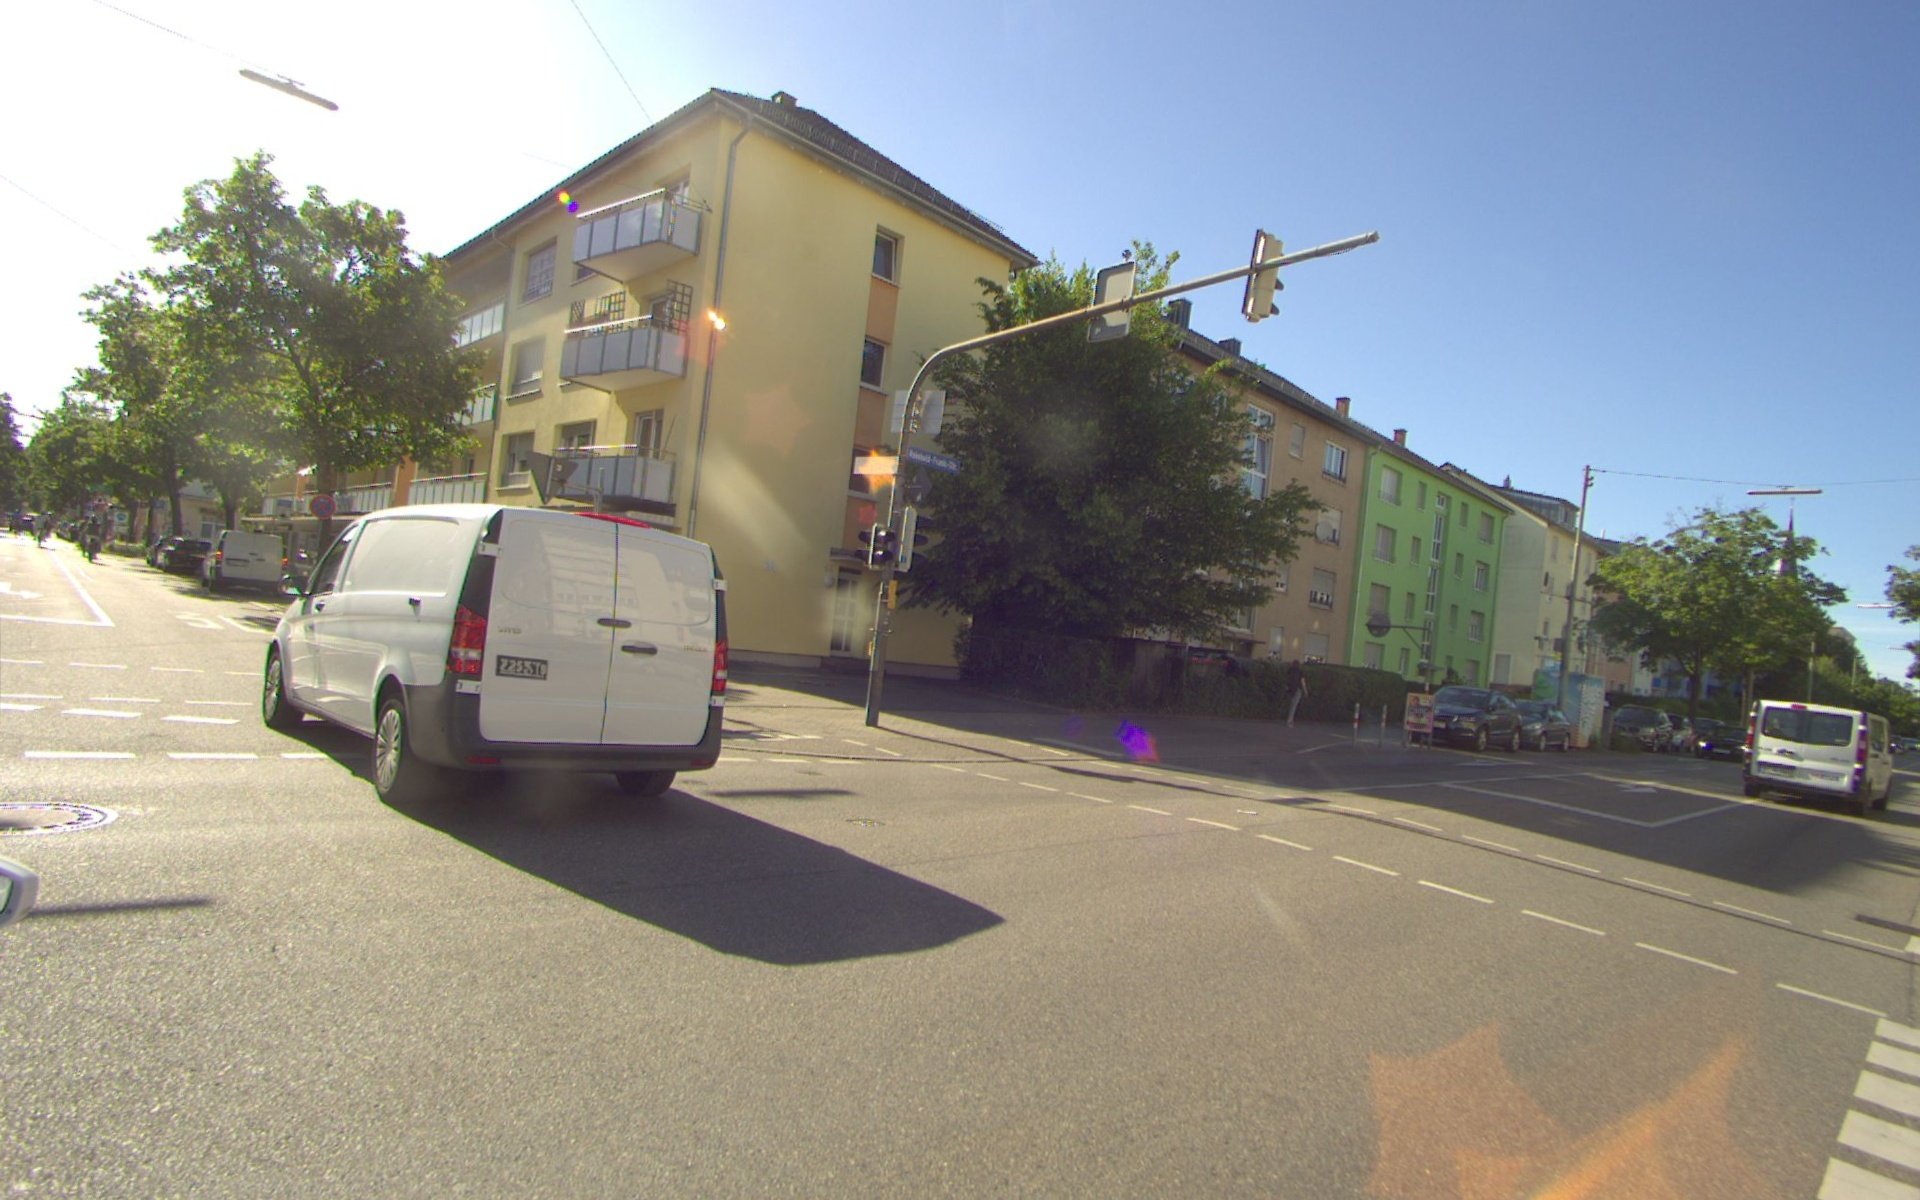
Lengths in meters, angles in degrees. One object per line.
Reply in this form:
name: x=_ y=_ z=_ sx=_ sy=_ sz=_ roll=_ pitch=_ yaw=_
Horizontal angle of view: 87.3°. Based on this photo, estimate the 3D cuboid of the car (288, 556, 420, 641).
car: x=-13.393 y=-0.061 z=22.154 sx=1.708 sy=1.501 sz=3.340 roll=7 pitch=-1 yaw=-43

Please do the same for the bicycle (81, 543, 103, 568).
bicycle: x=-34.545 y=-1.784 z=40.031 sx=0.545 sy=0.876 sz=1.854 roll=7 pitch=-1 yaw=-42

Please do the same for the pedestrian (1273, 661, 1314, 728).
pedestrian: x=8.495 y=2.413 z=25.610 sx=0.567 sy=1.605 sz=0.640 roll=6 pitch=0 yaw=-37

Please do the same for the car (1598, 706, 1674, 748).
car: x=26.808 y=5.026 z=39.849 sx=3.500 sy=1.353 sz=1.665 roll=8 pitch=-2 yaw=-43

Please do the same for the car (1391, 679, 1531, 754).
car: x=13.219 y=3.078 z=26.456 sx=3.976 sy=1.592 sz=1.976 roll=8 pitch=-2 yaw=-44

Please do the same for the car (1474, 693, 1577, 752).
car: x=16.944 y=3.679 z=30.095 sx=3.501 sy=1.429 sz=1.665 roll=8 pitch=-2 yaw=-44

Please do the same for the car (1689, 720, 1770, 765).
car: x=29.509 y=5.443 z=38.517 sx=3.976 sy=1.392 sz=1.847 roll=8 pitch=-3 yaw=-44

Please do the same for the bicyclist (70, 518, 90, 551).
bicyclist: x=-39.703 y=-2.953 z=45.376 sx=0.545 sy=1.399 sz=0.813 roll=7 pitch=0 yaw=-43

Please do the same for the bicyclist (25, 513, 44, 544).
bicyclist: x=-44.873 y=-3.465 z=48.777 sx=0.586 sy=1.399 sz=0.813 roll=7 pitch=-1 yaw=-43

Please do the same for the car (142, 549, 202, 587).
car: x=-35.276 y=-1.446 z=44.999 sx=1.708 sy=1.330 sz=3.340 roll=8 pitch=-2 yaw=-43

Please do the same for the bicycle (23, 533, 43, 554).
bicycle: x=-44.927 y=-2.748 z=48.751 sx=0.618 sy=0.876 sz=1.854 roll=7 pitch=-1 yaw=-42

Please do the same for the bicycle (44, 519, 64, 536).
bicycle: x=-61.970 y=-4.979 z=68.797 sx=0.854 sy=0.955 sz=2.279 roll=10 pitch=-3 yaw=-44

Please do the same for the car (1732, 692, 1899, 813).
car: x=17.638 y=3.142 z=20.635 sx=5.027 sy=1.961 sz=1.951 roll=10 pitch=-3 yaw=-43

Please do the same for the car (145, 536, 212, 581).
car: x=-31.432 y=-1.689 z=40.410 sx=1.708 sy=1.501 sz=3.340 roll=7 pitch=-1 yaw=-43

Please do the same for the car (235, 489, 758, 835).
car: x=-3.803 y=0.293 z=7.697 sx=4.772 sy=1.832 sz=1.964 roll=5 pitch=-2 yaw=45

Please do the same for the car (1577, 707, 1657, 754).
car: x=24.238 y=4.823 z=37.078 sx=3.501 sy=1.429 sz=1.665 roll=8 pitch=-2 yaw=-44

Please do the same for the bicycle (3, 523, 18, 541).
bicycle: x=-59.879 y=-4.303 z=63.439 sx=0.630 sy=1.054 sz=1.773 roll=6 pitch=0 yaw=-44

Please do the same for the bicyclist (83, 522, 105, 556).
bicyclist: x=-34.437 y=-2.435 z=39.998 sx=0.545 sy=1.277 sz=0.793 roll=7 pitch=-1 yaw=-43

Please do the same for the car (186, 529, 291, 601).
car: x=-22.809 y=-1.136 z=31.751 sx=2.039 sy=1.868 sz=4.529 roll=7 pitch=-1 yaw=-43

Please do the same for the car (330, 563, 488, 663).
car: x=-10.508 y=0.219 z=19.096 sx=1.708 sy=1.501 sz=3.438 roll=7 pitch=-1 yaw=-43

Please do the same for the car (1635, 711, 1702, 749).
car: x=30.881 y=5.673 z=43.814 sx=3.501 sy=1.353 sz=1.665 roll=8 pitch=-2 yaw=-44

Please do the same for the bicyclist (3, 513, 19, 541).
bicyclist: x=-59.597 y=-4.593 z=63.171 sx=0.630 sy=1.689 sz=1.037 roll=6 pitch=0 yaw=-44

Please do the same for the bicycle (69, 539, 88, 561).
bicycle: x=-39.770 y=-2.277 z=45.371 sx=0.545 sy=0.876 sz=1.854 roll=7 pitch=-1 yaw=-42

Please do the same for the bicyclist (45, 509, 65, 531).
bicyclist: x=-61.669 y=-5.481 z=68.559 sx=0.854 sy=1.329 sz=1.195 roll=10 pitch=-3 yaw=-44
